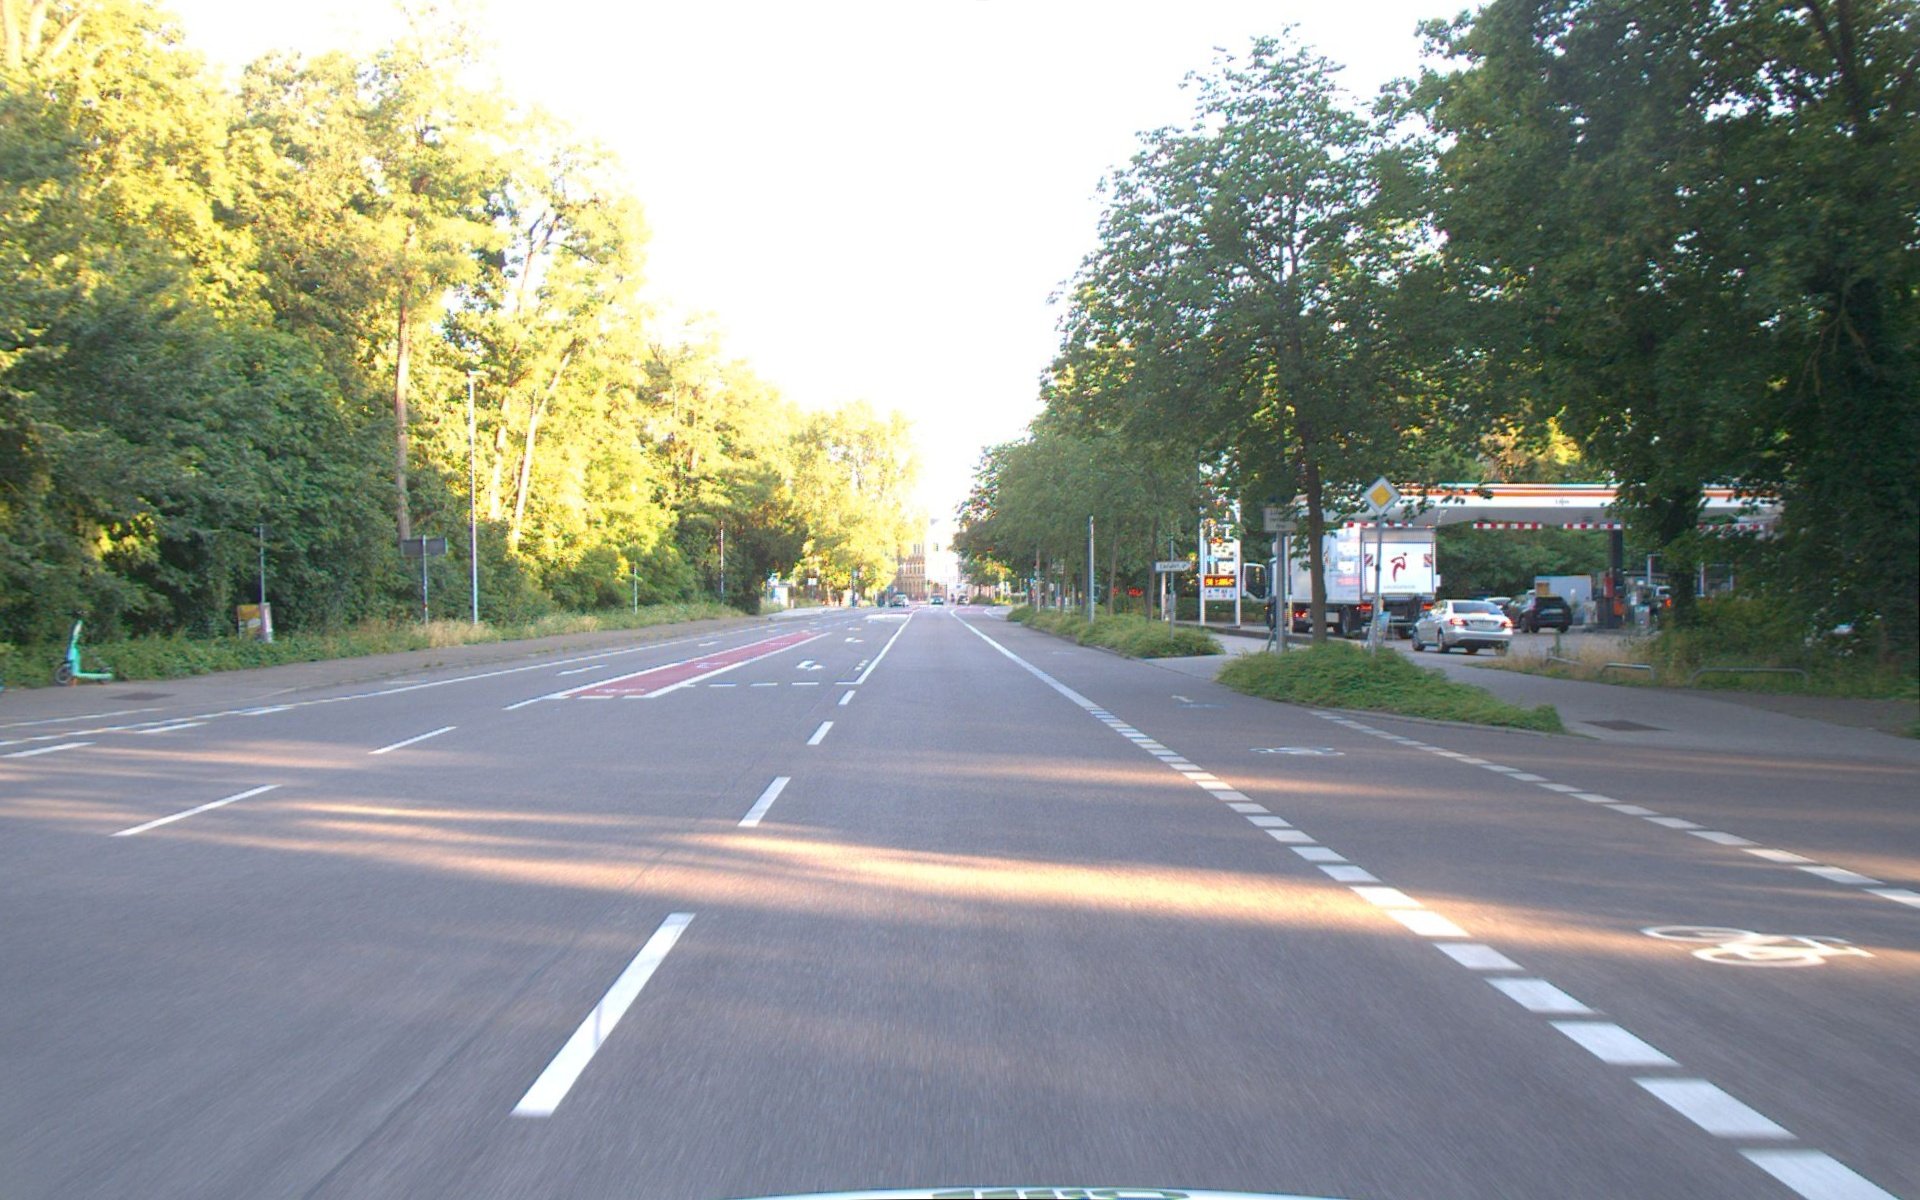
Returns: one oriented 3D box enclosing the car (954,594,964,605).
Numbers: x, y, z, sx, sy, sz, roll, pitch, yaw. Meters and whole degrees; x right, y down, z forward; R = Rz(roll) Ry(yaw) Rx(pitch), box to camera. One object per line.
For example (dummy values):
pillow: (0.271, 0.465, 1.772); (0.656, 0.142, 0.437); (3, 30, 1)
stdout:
car: (-0.110, -0.091, 238.020); (1.462, 1.512, 3.490); (0, 0, 0)

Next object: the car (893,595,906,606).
car: (-7.205, 0.053, 198.386); (1.462, 1.314, 3.490); (0, 0, 0)

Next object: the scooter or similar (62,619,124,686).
scooter or similar: (-14.411, 0.866, 27.508); (0.886, 1.087, 0.492); (0, 0, -27)

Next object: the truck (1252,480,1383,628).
truck: (14.183, -1.787, 66.341); (2.973, 5.551, 8.405); (0, 1, -3)

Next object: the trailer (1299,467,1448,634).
trailer: (14.566, -1.671, 58.896); (2.960, 5.557, 7.930); (0, 0, -3)

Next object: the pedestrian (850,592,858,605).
pedestrian: (-13.056, -0.160, 203.234); (0.774, 1.608, 0.746); (1, 0, 8)

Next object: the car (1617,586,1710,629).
car: (28.409, 0.285, 66.958); (1.946, 1.611, 4.623); (1, 0, 2)

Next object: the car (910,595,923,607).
car: (-5.166, 0.121, 197.278); (1.462, 1.512, 3.490); (0, 0, 0)

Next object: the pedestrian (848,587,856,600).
pedestrian: (-12.761, -0.784, 196.101); (0.774, 1.608, 0.746); (1, 0, 8)

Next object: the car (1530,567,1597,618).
car: (29.625, -0.368, 81.266); (1.733, 2.388, 4.623); (1, 0, 2)

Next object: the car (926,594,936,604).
car: (-4.304, -0.141, 243.147); (1.462, 1.512, 3.490); (0, 0, 0)

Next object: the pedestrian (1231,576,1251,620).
pedestrian: (11.899, -0.079, 70.025); (0.741, 1.829, 0.707); (1, 0, 2)

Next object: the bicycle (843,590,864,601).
bicycle: (-12.639, -0.543, 196.091); (2.410, 1.216, 0.757); (0, 0, 9)

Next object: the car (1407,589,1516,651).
car: (13.962, 0.536, 46.281); (1.733, 1.611, 4.820); (1, 0, 2)
